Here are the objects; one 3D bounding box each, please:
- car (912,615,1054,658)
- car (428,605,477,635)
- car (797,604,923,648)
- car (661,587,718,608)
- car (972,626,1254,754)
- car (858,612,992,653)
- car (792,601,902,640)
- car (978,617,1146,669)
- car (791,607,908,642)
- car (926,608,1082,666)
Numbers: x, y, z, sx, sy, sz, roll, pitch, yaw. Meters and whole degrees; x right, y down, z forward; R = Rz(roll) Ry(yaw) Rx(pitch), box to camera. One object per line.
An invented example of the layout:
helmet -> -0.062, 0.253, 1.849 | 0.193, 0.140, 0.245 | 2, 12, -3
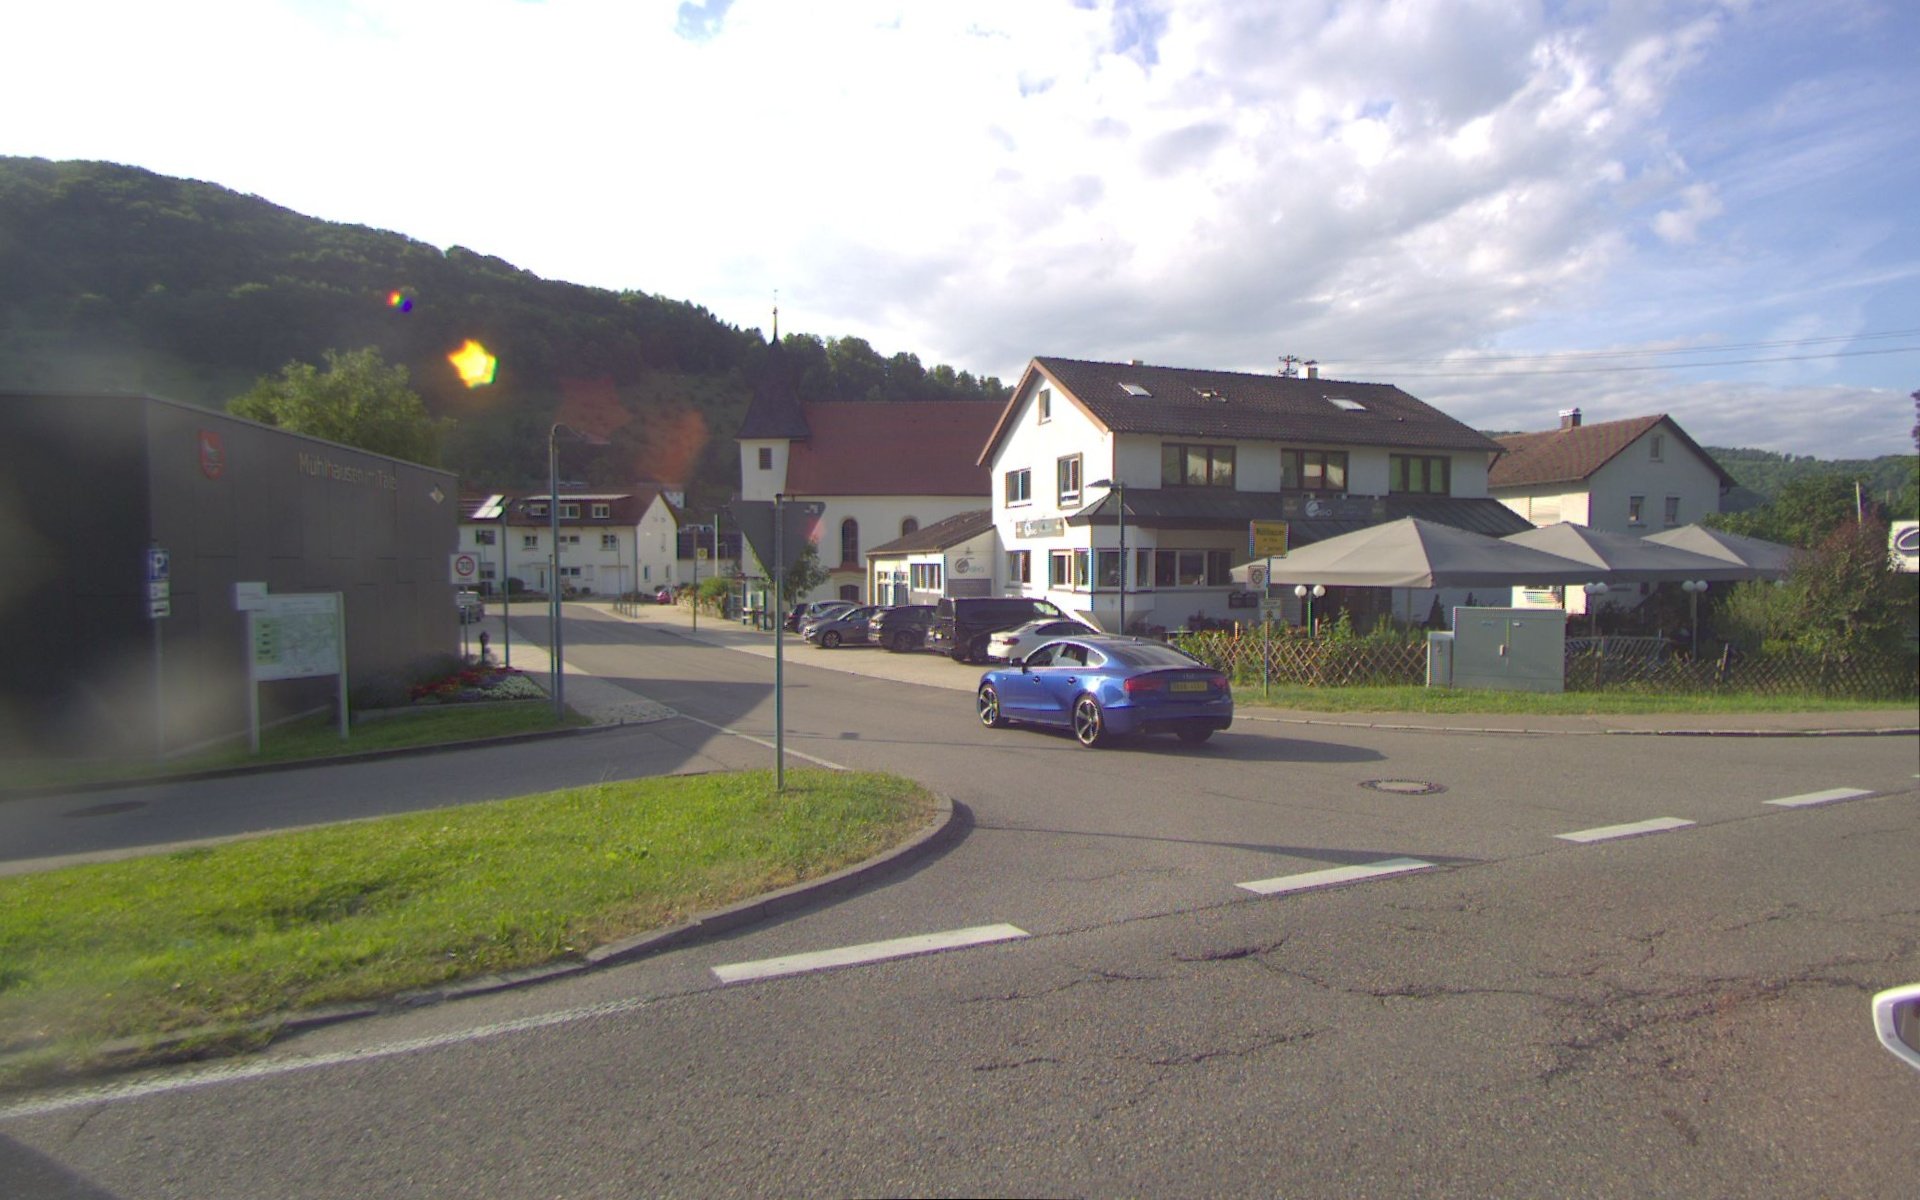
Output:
car -> 0.805, 1.221, 34.627 | 4.513, 1.408, 1.988 | 0, -1, -24
car -> -27.833, 1.058, 55.029 | 1.979, 1.534, 3.963 | 0, 0, -33
car -> -3.870, 1.006, 38.932 | 4.513, 1.618, 1.988 | 0, -1, -24
car -> -20.905, -0.190, 77.649 | 3.951, 1.528, 1.985 | 0, 0, -29
car -> 1.880, 1.084, 13.753 | 1.811, 1.428, 4.200 | 0, -1, -25
car -> -1.270, 1.159, 36.642 | 4.513, 1.431, 1.988 | 0, -1, -24
car -> -5.046, 0.899, 44.769 | 4.513, 1.665, 1.988 | 0, -1, -24
car -> 2.959, 1.195, 29.226 | 4.513, 1.408, 1.988 | 0, -1, -24
car -> -4.640, 1.010, 42.144 | 4.513, 1.431, 1.988 | 0, -1, -24
car -> 1.382, 1.114, 31.441 | 4.513, 1.707, 1.988 | 0, -1, -24
